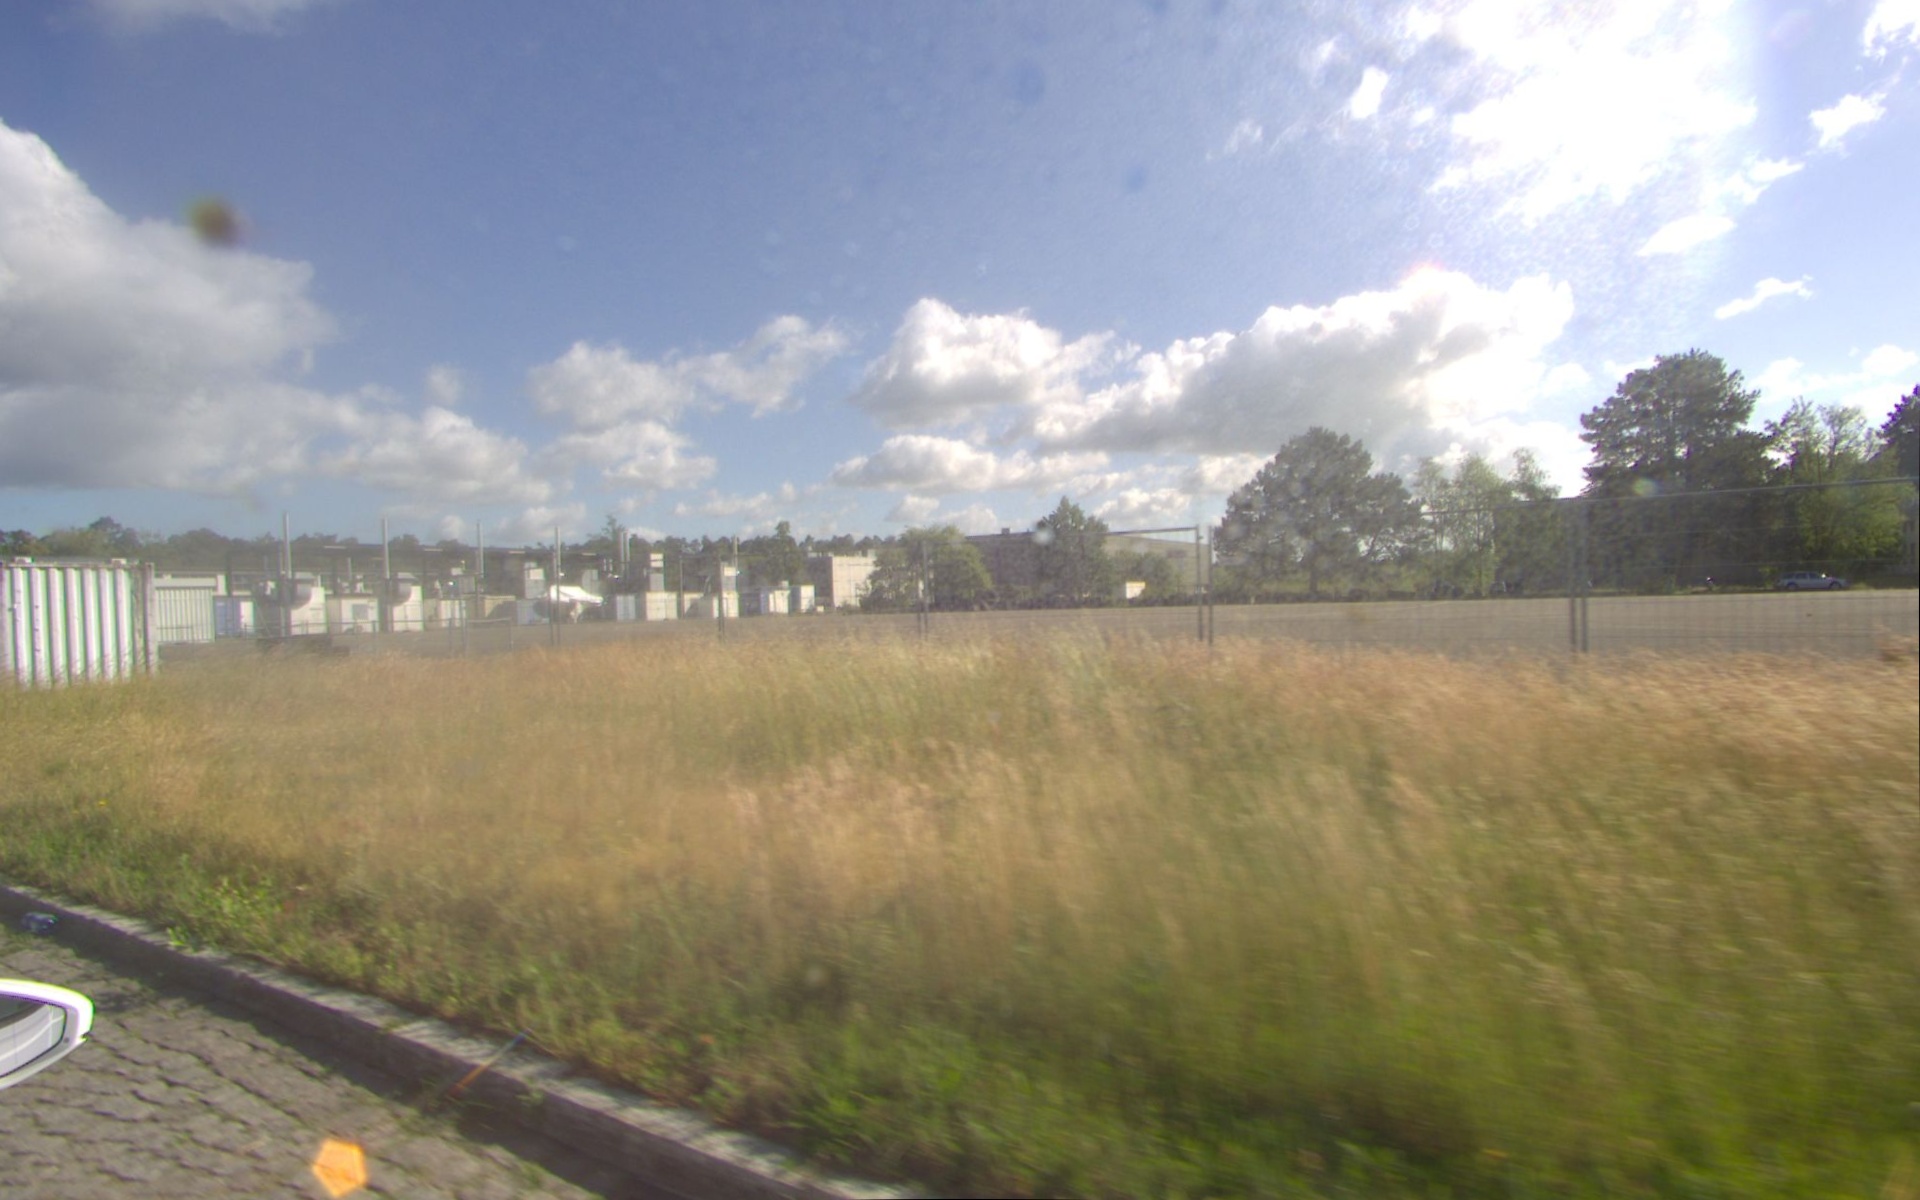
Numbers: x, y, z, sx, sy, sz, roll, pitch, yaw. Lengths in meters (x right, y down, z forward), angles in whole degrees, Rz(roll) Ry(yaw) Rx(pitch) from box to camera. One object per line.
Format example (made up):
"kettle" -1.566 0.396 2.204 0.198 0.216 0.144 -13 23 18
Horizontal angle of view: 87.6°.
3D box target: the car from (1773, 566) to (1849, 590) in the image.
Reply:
"car" 63.251 -1.646 74.516 3.938 1.603 1.991 -2 1 28
